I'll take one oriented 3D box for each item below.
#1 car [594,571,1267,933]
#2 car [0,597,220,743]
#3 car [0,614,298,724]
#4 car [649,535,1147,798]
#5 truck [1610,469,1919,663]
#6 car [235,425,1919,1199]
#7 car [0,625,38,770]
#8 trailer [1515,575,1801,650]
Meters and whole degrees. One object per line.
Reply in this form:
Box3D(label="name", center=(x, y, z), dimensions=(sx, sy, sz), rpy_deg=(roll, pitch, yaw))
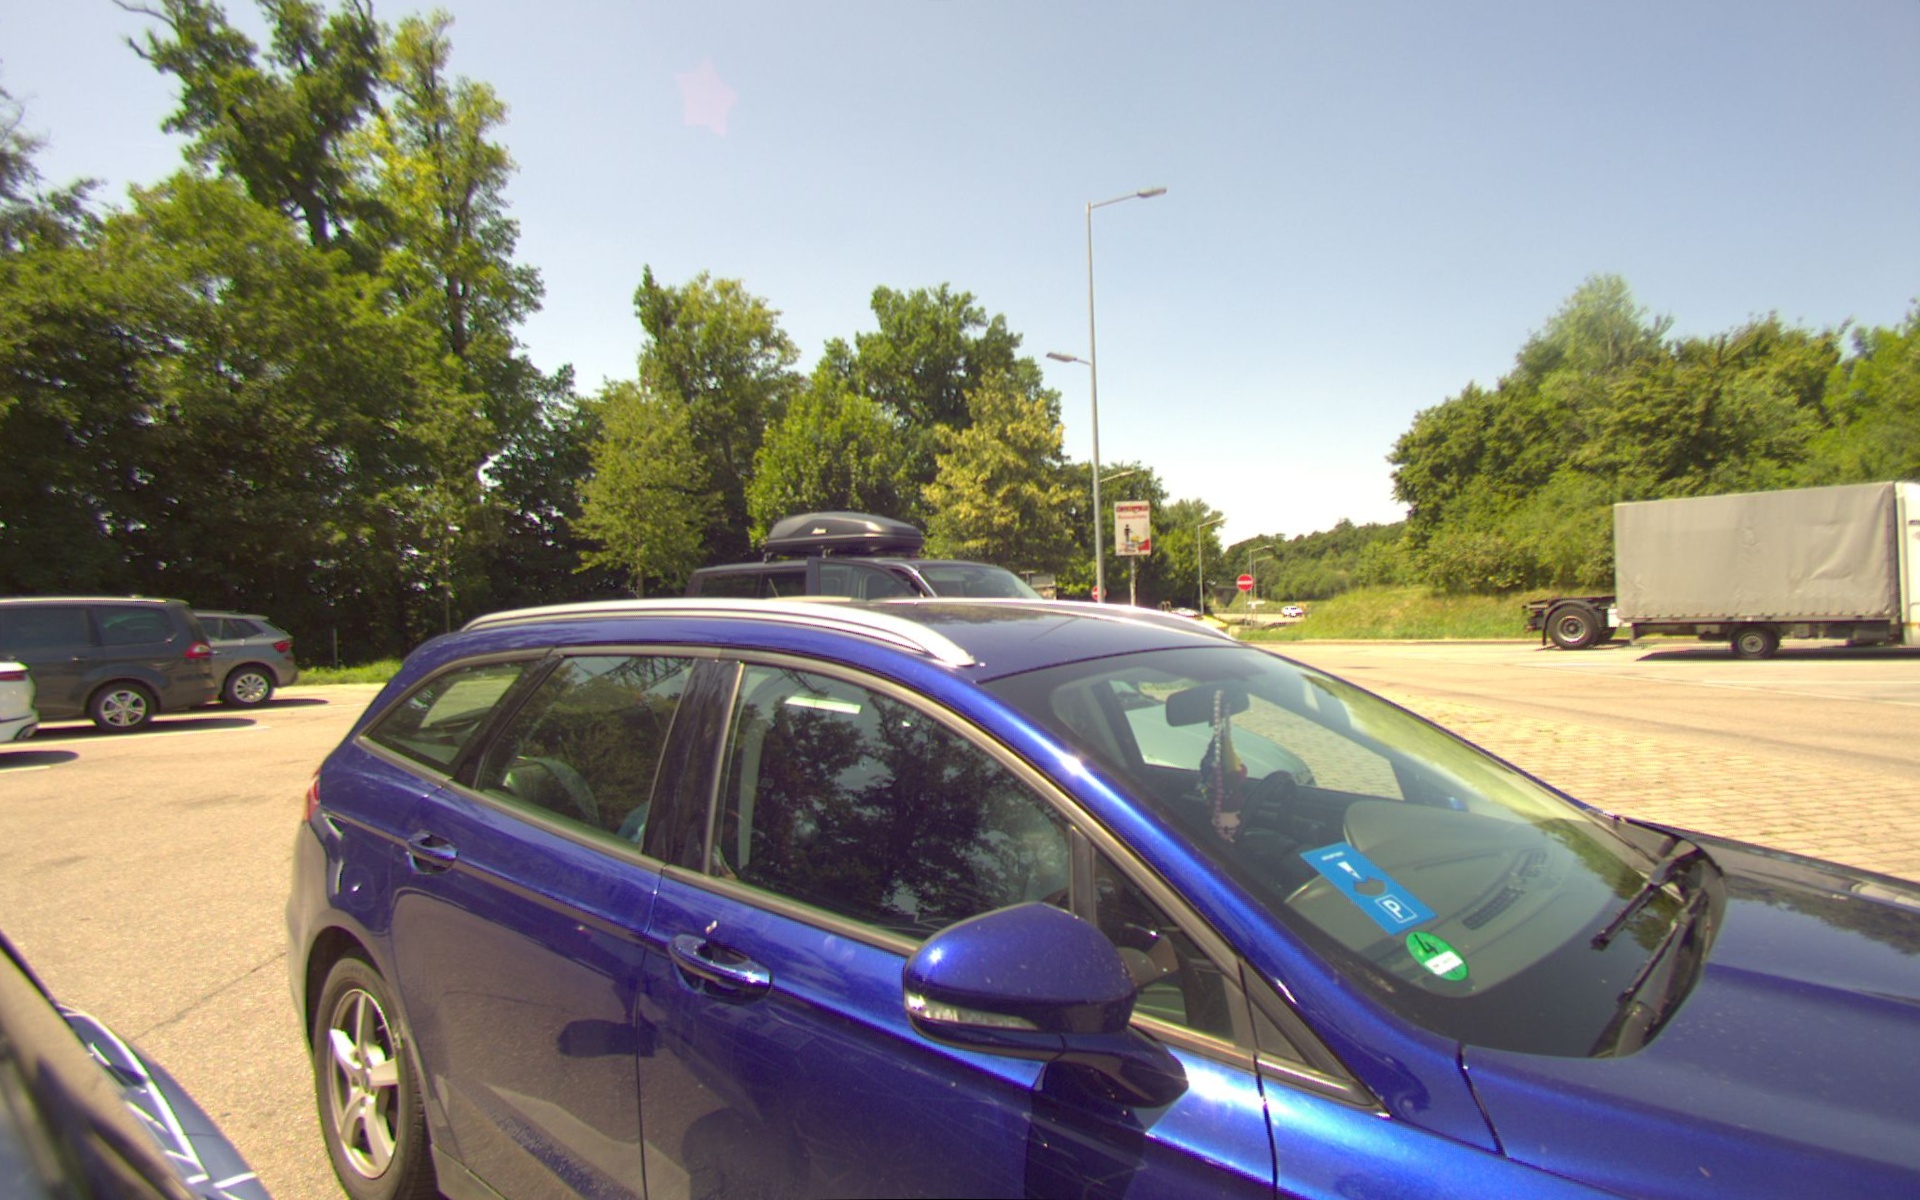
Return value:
Box3D(label="car", center=(-0.370, 0.653, 5.808), dimensions=(3.739, 1.424, 1.587), rpy_deg=(-2, -1, 40))
Box3D(label="car", center=(-11.719, 0.840, 12.588), dimensions=(3.830, 1.703, 1.883), rpy_deg=(0, -2, -45))
Box3D(label="car", center=(-12.615, 0.976, 15.628), dimensions=(3.753, 1.488, 1.743), rpy_deg=(0, -1, -45))
Box3D(label="car", center=(-0.737, 0.537, 9.418), dimensions=(4.426, 1.875, 2.022), rpy_deg=(-2, -1, 40))
Box3D(label="truck", center=(16.705, -0.613, 18.847), dimensions=(7.308, 3.258, 2.294), rpy_deg=(-5, -2, 43))
Box3D(label="car", center=(0.234, 0.654, 2.086), dimensions=(4.427, 1.455, 1.763), rpy_deg=(-2, -1, 40))
Box3D(label="car", center=(-10.965, 0.947, 9.200), dimensions=(3.753, 1.377, 1.804), rpy_deg=(0, -1, -45))
Box3D(label="trailer", center=(16.325, 0.351, 23.920), dimensions=(5.393, 1.608, 1.576), rpy_deg=(-2, -1, 41))
